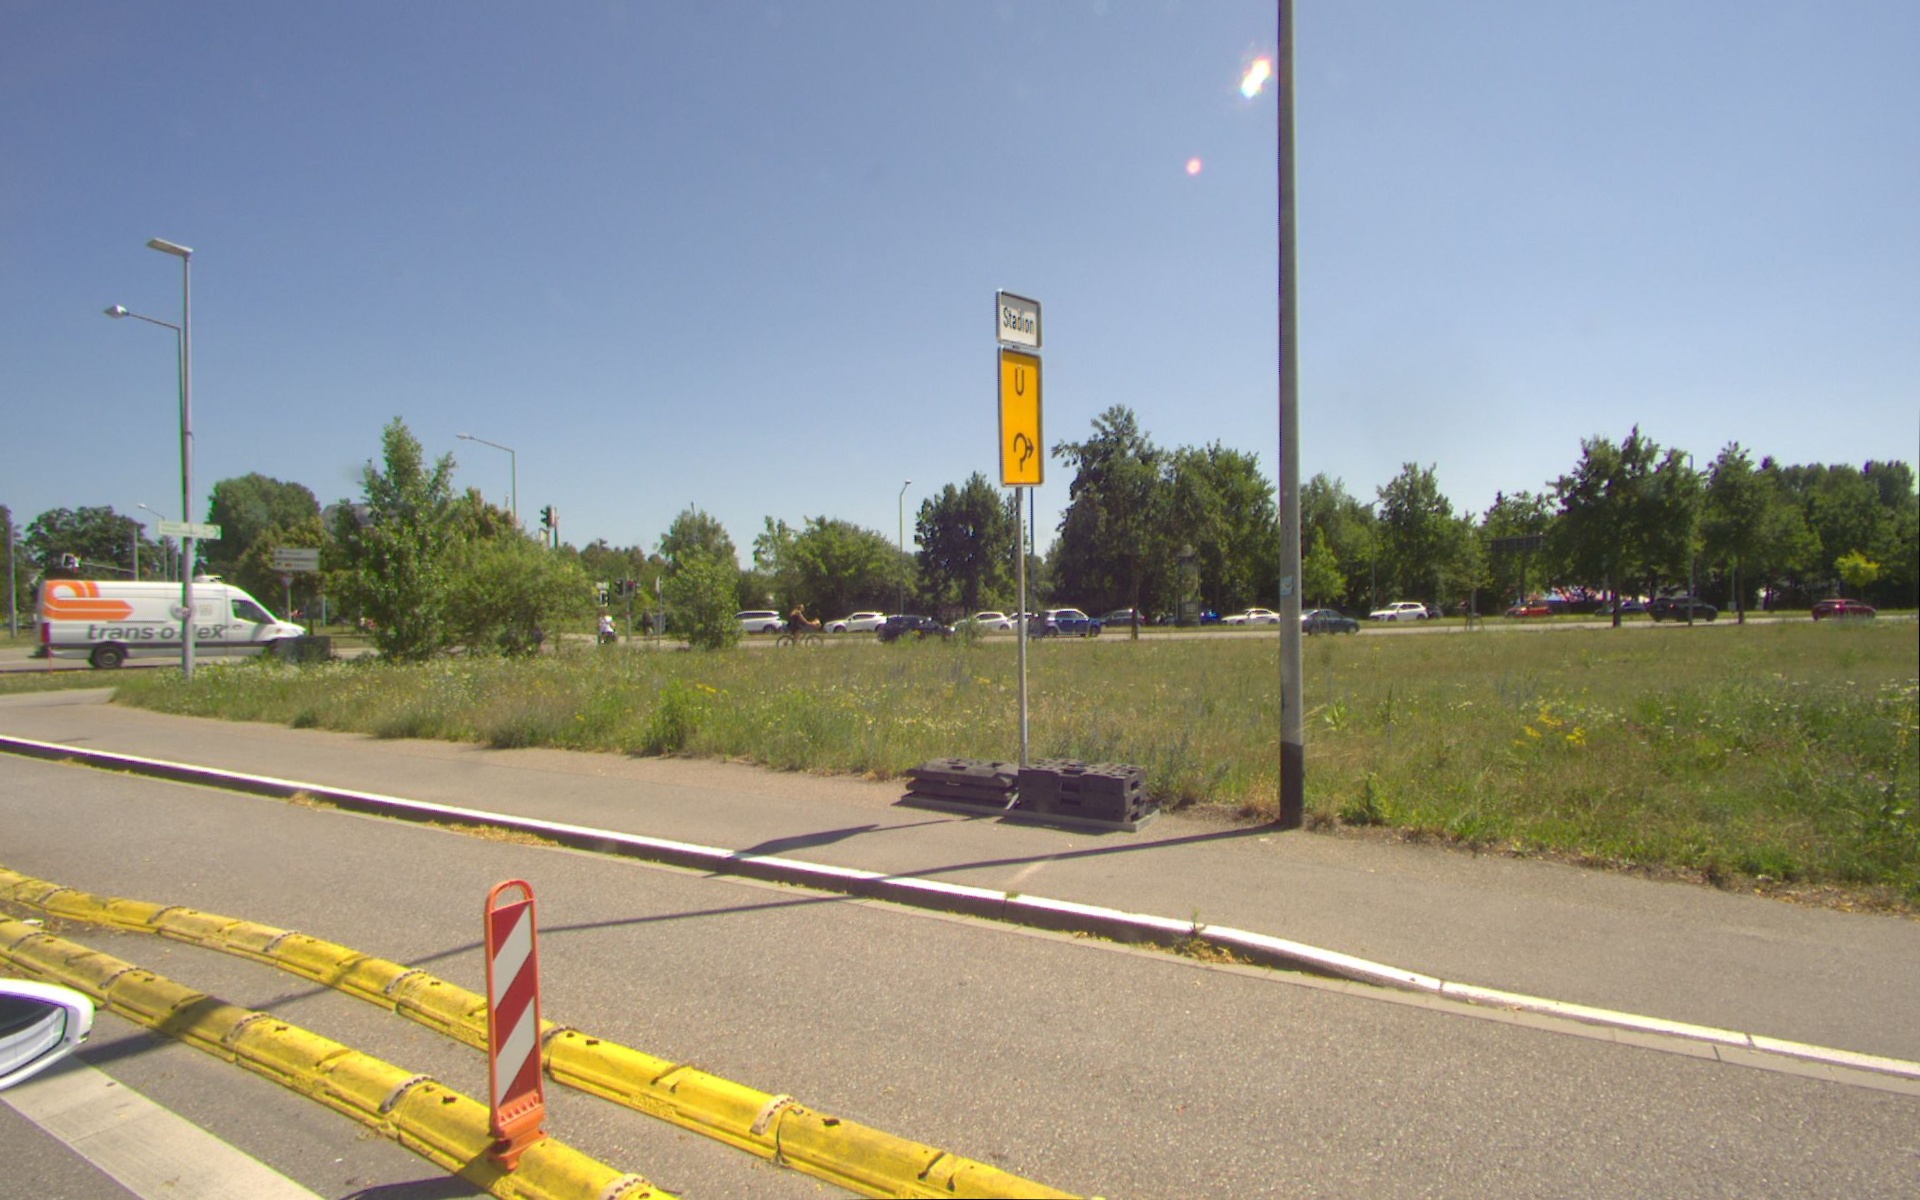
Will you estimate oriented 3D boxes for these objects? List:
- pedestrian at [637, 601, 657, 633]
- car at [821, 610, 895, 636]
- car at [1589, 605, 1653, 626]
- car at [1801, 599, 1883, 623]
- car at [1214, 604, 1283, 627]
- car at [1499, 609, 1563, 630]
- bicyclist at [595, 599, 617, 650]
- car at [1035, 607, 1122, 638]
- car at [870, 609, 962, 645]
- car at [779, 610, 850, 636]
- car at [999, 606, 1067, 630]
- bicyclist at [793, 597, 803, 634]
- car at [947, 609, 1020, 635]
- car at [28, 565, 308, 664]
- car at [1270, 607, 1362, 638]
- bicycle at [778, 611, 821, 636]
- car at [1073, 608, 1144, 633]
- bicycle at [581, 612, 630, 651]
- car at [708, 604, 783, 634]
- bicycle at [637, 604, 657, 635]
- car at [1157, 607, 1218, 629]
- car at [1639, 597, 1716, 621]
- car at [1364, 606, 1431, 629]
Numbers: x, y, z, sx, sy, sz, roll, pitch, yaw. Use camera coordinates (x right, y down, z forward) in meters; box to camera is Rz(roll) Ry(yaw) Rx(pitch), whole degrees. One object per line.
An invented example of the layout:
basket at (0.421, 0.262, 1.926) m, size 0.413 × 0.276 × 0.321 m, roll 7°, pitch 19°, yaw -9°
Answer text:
pedestrian at (-16.682, 0.922, 53.414) m, size 0.954 × 1.681 × 0.885 m, roll 0°, pitch -1°, yaw -16°
car at (-6.391, 1.448, 62.879) m, size 4.365 × 1.612 × 1.846 m, roll 0°, pitch -2°, yaw -16°
car at (53.033, 1.263, 80.354) m, size 4.365 × 1.612 × 1.846 m, roll 0°, pitch -2°, yaw -16°
car at (58.591, 0.756, 66.547) m, size 4.340 × 1.546 × 1.998 m, roll 0°, pitch -2°, yaw -15°
car at (20.321, 1.101, 70.584) m, size 4.365 × 1.612 × 1.846 m, roll 0°, pitch -2°, yaw -16°
car at (44.458, 1.532, 78.006) m, size 4.337 × 1.612 × 1.846 m, roll 0°, pitch -2°, yaw -16°
bicyclist at (-13.128, 0.906, 37.154) m, size 0.597 × 1.864 × 0.572 m, roll 0°, pitch -1°, yaw 2°
car at (6.485, 1.231, 54.879) m, size 4.344 × 1.617 × 1.994 m, roll 0°, pitch 1°, yaw -20°
car at (-2.037, 1.247, 46.262) m, size 3.929 × 1.573 × 1.724 m, roll 1°, pitch 1°, yaw -16°
car at (-9.442, 1.511, 64.896) m, size 4.365 × 1.612 × 1.846 m, roll 0°, pitch -2°, yaw -16°
car at (5.049, 1.207, 69.464) m, size 4.365 × 1.613 × 1.845 m, roll 0°, pitch 0°, yaw -16°
bicyclist at (-5.948, 0.569, 36.683) m, size 0.349 × 1.336 × 0.379 m, roll 0°, pitch -1°, yaw -9°
car at (1.521, 1.443, 65.164) m, size 4.365 × 1.612 × 1.846 m, roll 0°, pitch -2°, yaw -16°
car at (-25.143, 0.525, 32.104) m, size 1.979 × 2.864 × 6.826 m, roll -1°, pitch -2°, yaw 42°
car at (19.371, 1.187, 54.542) m, size 4.340 × 1.617 × 1.996 m, roll 0°, pitch 1°, yaw -16°
bicycle at (-5.870, 0.858, 36.686) m, size 1.564 × 0.895 × 0.369 m, roll 0°, pitch -1°, yaw -10°
car at (9.977, 1.400, 67.406) m, size 4.365 × 1.612 × 1.846 m, roll 0°, pitch -2°, yaw -16°
bicycle at (-13.131, 1.177, 37.218) m, size 0.628 × 1.370 × 2.896 m, roll 0°, pitch -2°, yaw 4°
car at (-12.986, 1.159, 60.553) m, size 4.365 × 1.758 × 1.846 m, roll 0°, pitch -2°, yaw -16°
bicycle at (-16.725, 1.057, 53.552) m, size 0.967 × 1.617 × 2.879 m, roll 0°, pitch -2°, yaw -16°
car at (16.500, 1.310, 72.705) m, size 3.927 × 1.558 × 1.764 m, roll 0°, pitch -2°, yaw -14°
car at (48.307, 0.598, 67.430) m, size 4.342 × 1.617 × 1.995 m, roll 0°, pitch 1°, yaw -18°
car at (32.211, 1.289, 73.731) m, size 4.366 × 1.612 × 1.846 m, roll 0°, pitch -2°, yaw -17°
